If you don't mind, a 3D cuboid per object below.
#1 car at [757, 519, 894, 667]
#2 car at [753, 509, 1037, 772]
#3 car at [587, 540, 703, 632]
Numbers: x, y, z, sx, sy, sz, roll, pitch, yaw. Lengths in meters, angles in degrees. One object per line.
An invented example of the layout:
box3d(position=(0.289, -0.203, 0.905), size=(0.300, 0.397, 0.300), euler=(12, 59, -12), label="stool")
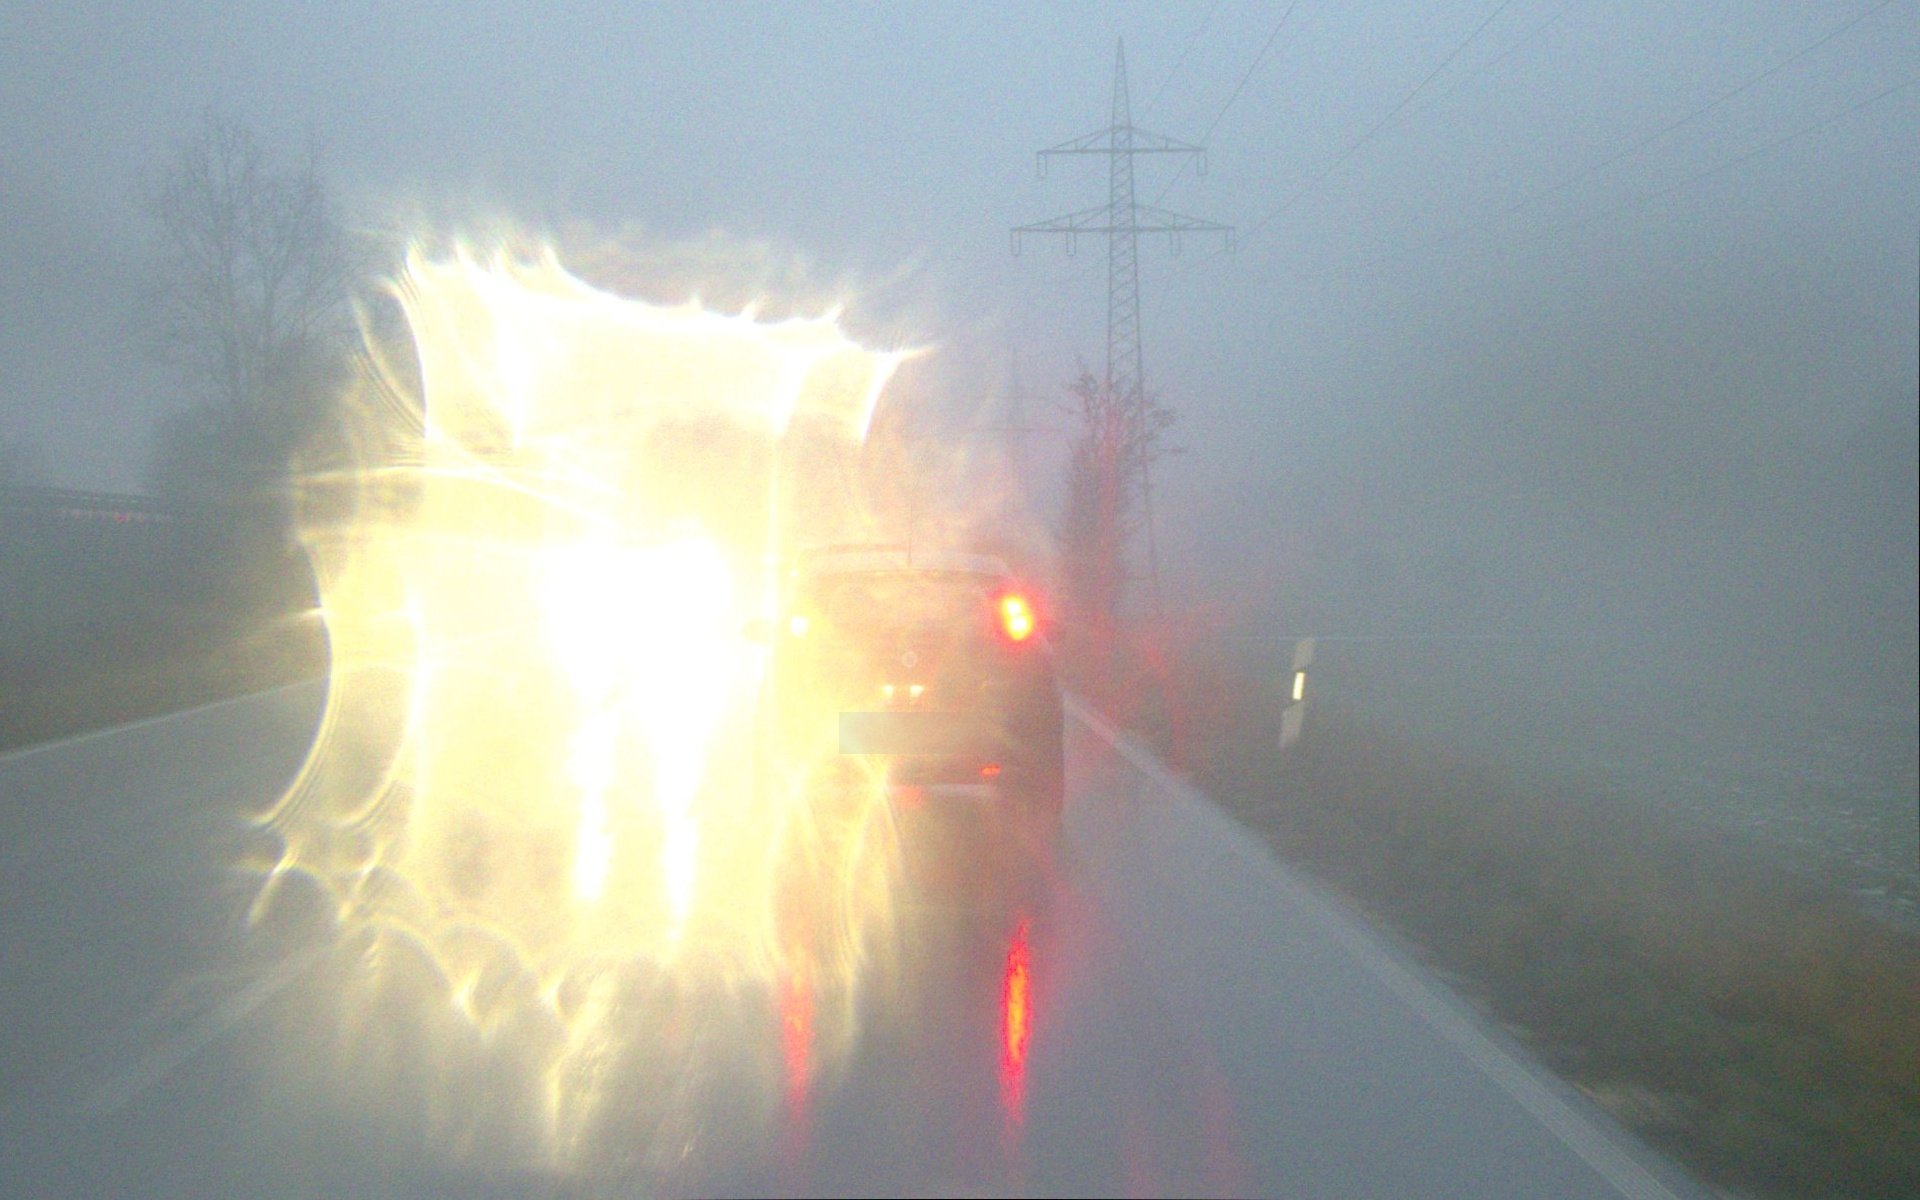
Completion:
box3d(position=(-1.968, -0.120, 49.263), size=(1.852, 2.007, 4.001), euler=(1, 1, -3), label="car")
box3d(position=(-0.440, 0.196, 19.951), size=(1.500, 1.393, 3.200), euler=(1, 1, -3), label="car")
box3d(position=(-5.687, -0.282, 62.440), size=(1.785, 1.585, 4.487), euler=(1, 1, -1), label="car")
